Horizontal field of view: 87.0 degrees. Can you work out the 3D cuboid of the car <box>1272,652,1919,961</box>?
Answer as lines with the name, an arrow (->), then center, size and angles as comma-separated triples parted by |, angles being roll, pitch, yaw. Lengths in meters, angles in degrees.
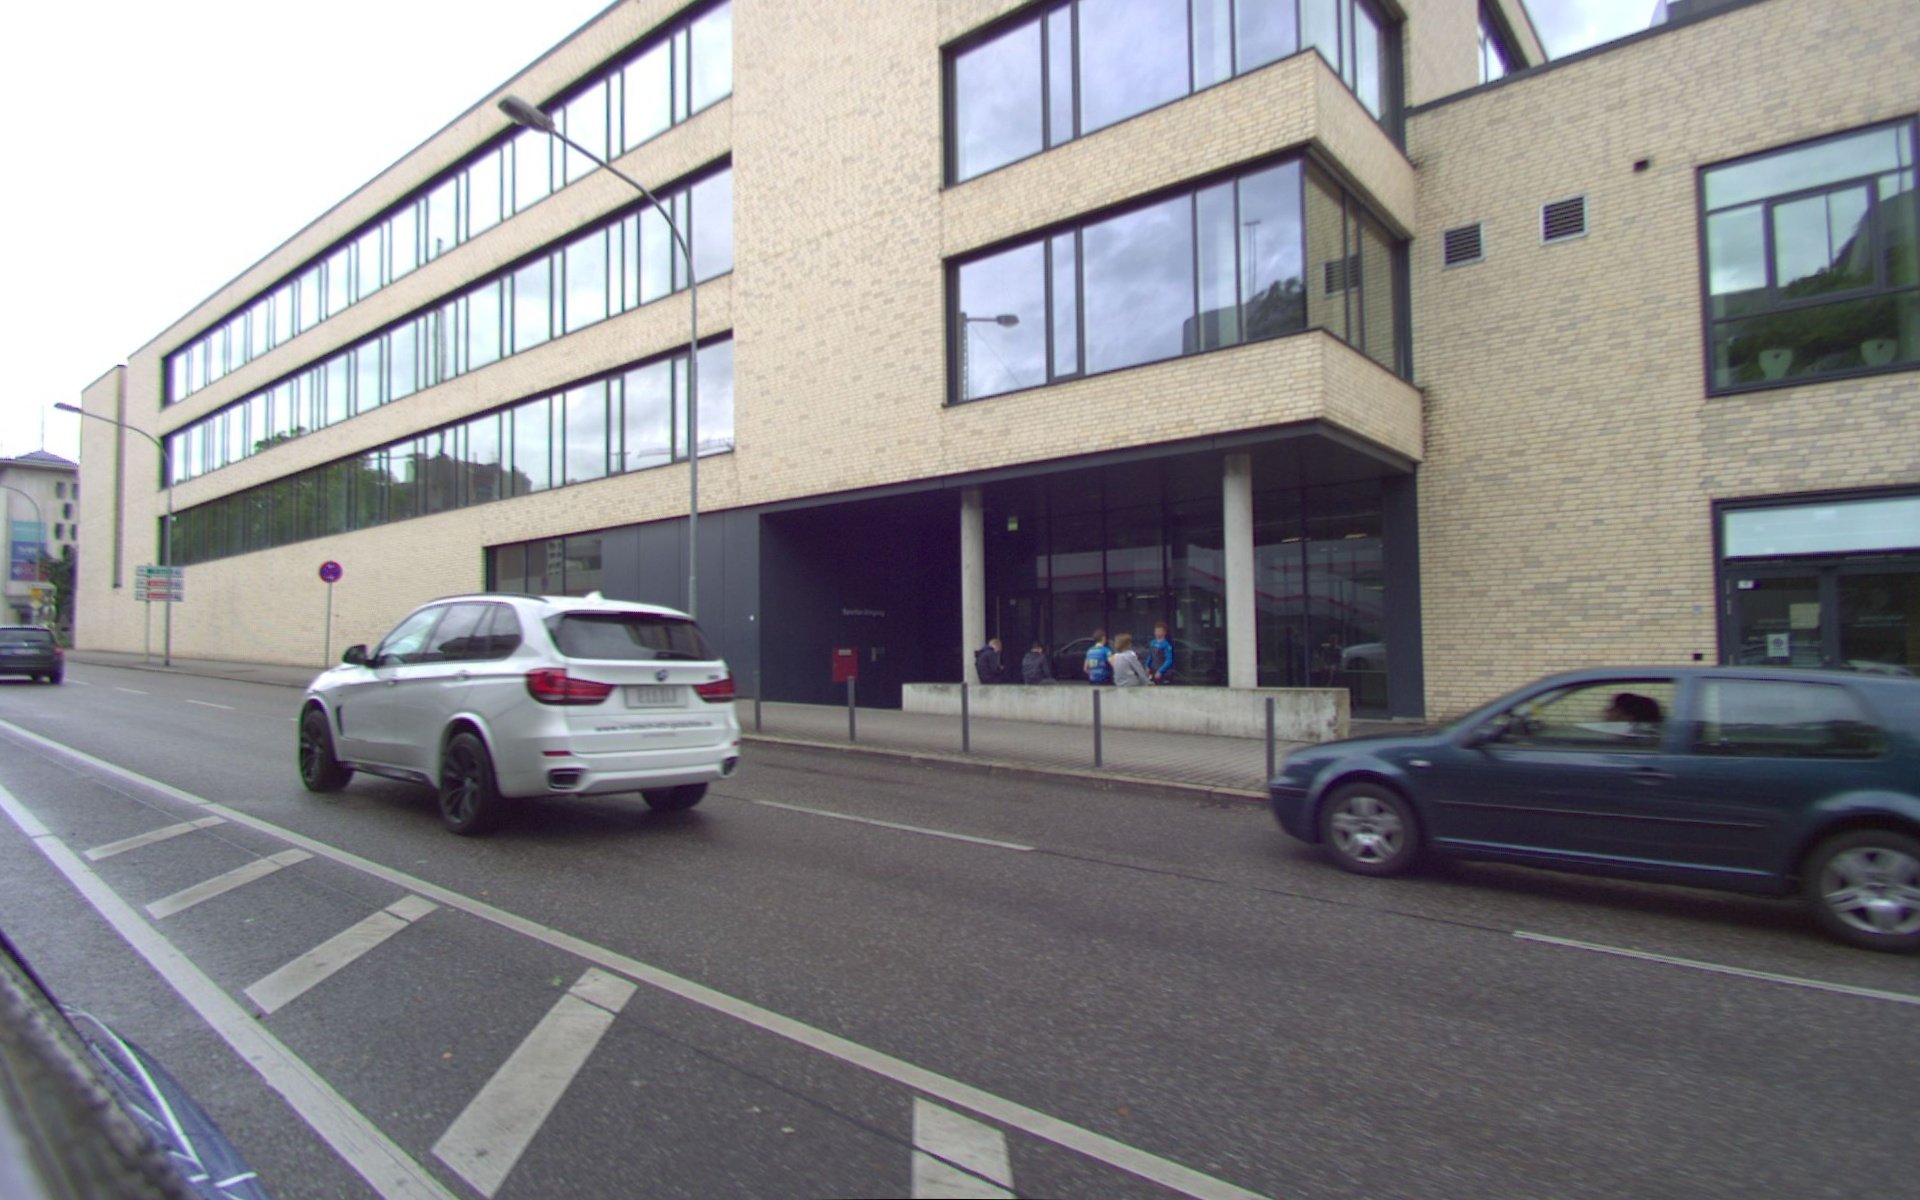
car -> 4.200, 1.084, 6.310 | 3.966, 1.423, 1.728 | -1, -4, 39

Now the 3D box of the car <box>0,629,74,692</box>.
car -> -24.404, 1.504, 25.907 | 4.283, 1.473, 1.794 | -1, -4, 39

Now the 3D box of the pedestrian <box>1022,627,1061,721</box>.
pedestrian -> 1.335, 1.199, 16.532 | 0.462, 1.486, 0.445 | -1, 0, 36

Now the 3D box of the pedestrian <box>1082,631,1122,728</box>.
pedestrian -> 2.232, 1.237, 15.935 | 0.462, 1.486, 0.445 | -1, 0, 36

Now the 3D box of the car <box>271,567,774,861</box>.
car -> -3.819, 0.798, 8.471 | 4.569, 1.825, 1.872 | -1, -4, 39

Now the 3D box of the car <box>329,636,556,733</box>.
car -> -8.768, 1.354, 17.031 | 4.225, 1.399, 1.811 | -1, -4, 39

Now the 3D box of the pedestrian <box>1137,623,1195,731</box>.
pedestrian -> 3.430, 1.261, 16.895 | 0.625, 1.727, 0.707 | -1, 0, -25

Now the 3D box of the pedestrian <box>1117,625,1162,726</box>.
pedestrian -> 2.736, 1.138, 15.433 | 0.527, 1.486, 0.437 | -1, 0, 36

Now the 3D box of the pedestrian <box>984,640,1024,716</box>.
pedestrian -> 0.746, 1.314, 17.206 | 0.422, 1.224, 0.542 | -1, 0, 43
